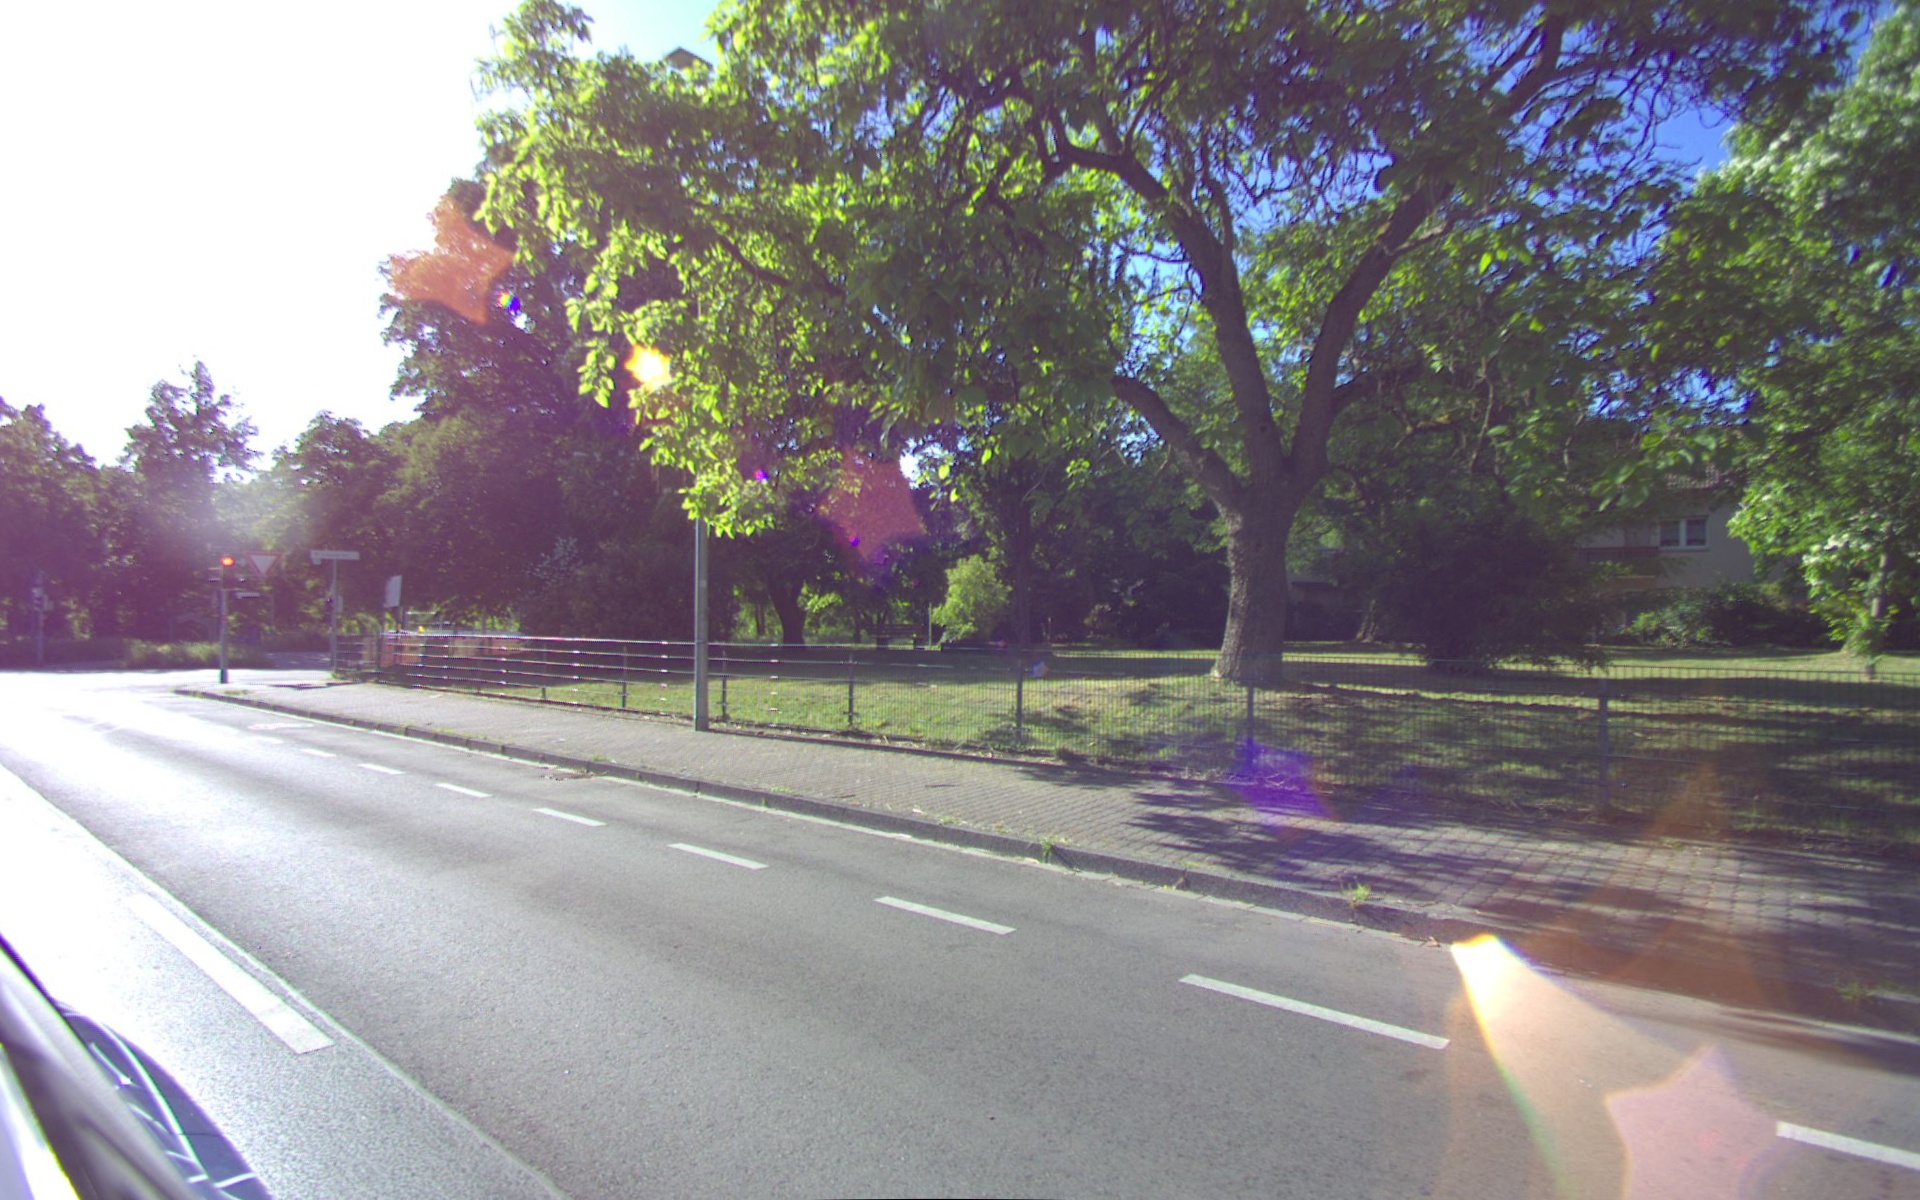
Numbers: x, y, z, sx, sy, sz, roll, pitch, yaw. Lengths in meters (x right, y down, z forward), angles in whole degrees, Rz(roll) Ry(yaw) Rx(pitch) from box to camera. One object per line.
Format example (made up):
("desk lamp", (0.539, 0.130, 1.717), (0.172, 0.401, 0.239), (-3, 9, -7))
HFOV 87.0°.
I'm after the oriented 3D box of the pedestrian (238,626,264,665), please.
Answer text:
("pedestrian", (-31.060, 1.996, 44.318), (0.647, 1.646, 0.790), (-2, -1, 41))
